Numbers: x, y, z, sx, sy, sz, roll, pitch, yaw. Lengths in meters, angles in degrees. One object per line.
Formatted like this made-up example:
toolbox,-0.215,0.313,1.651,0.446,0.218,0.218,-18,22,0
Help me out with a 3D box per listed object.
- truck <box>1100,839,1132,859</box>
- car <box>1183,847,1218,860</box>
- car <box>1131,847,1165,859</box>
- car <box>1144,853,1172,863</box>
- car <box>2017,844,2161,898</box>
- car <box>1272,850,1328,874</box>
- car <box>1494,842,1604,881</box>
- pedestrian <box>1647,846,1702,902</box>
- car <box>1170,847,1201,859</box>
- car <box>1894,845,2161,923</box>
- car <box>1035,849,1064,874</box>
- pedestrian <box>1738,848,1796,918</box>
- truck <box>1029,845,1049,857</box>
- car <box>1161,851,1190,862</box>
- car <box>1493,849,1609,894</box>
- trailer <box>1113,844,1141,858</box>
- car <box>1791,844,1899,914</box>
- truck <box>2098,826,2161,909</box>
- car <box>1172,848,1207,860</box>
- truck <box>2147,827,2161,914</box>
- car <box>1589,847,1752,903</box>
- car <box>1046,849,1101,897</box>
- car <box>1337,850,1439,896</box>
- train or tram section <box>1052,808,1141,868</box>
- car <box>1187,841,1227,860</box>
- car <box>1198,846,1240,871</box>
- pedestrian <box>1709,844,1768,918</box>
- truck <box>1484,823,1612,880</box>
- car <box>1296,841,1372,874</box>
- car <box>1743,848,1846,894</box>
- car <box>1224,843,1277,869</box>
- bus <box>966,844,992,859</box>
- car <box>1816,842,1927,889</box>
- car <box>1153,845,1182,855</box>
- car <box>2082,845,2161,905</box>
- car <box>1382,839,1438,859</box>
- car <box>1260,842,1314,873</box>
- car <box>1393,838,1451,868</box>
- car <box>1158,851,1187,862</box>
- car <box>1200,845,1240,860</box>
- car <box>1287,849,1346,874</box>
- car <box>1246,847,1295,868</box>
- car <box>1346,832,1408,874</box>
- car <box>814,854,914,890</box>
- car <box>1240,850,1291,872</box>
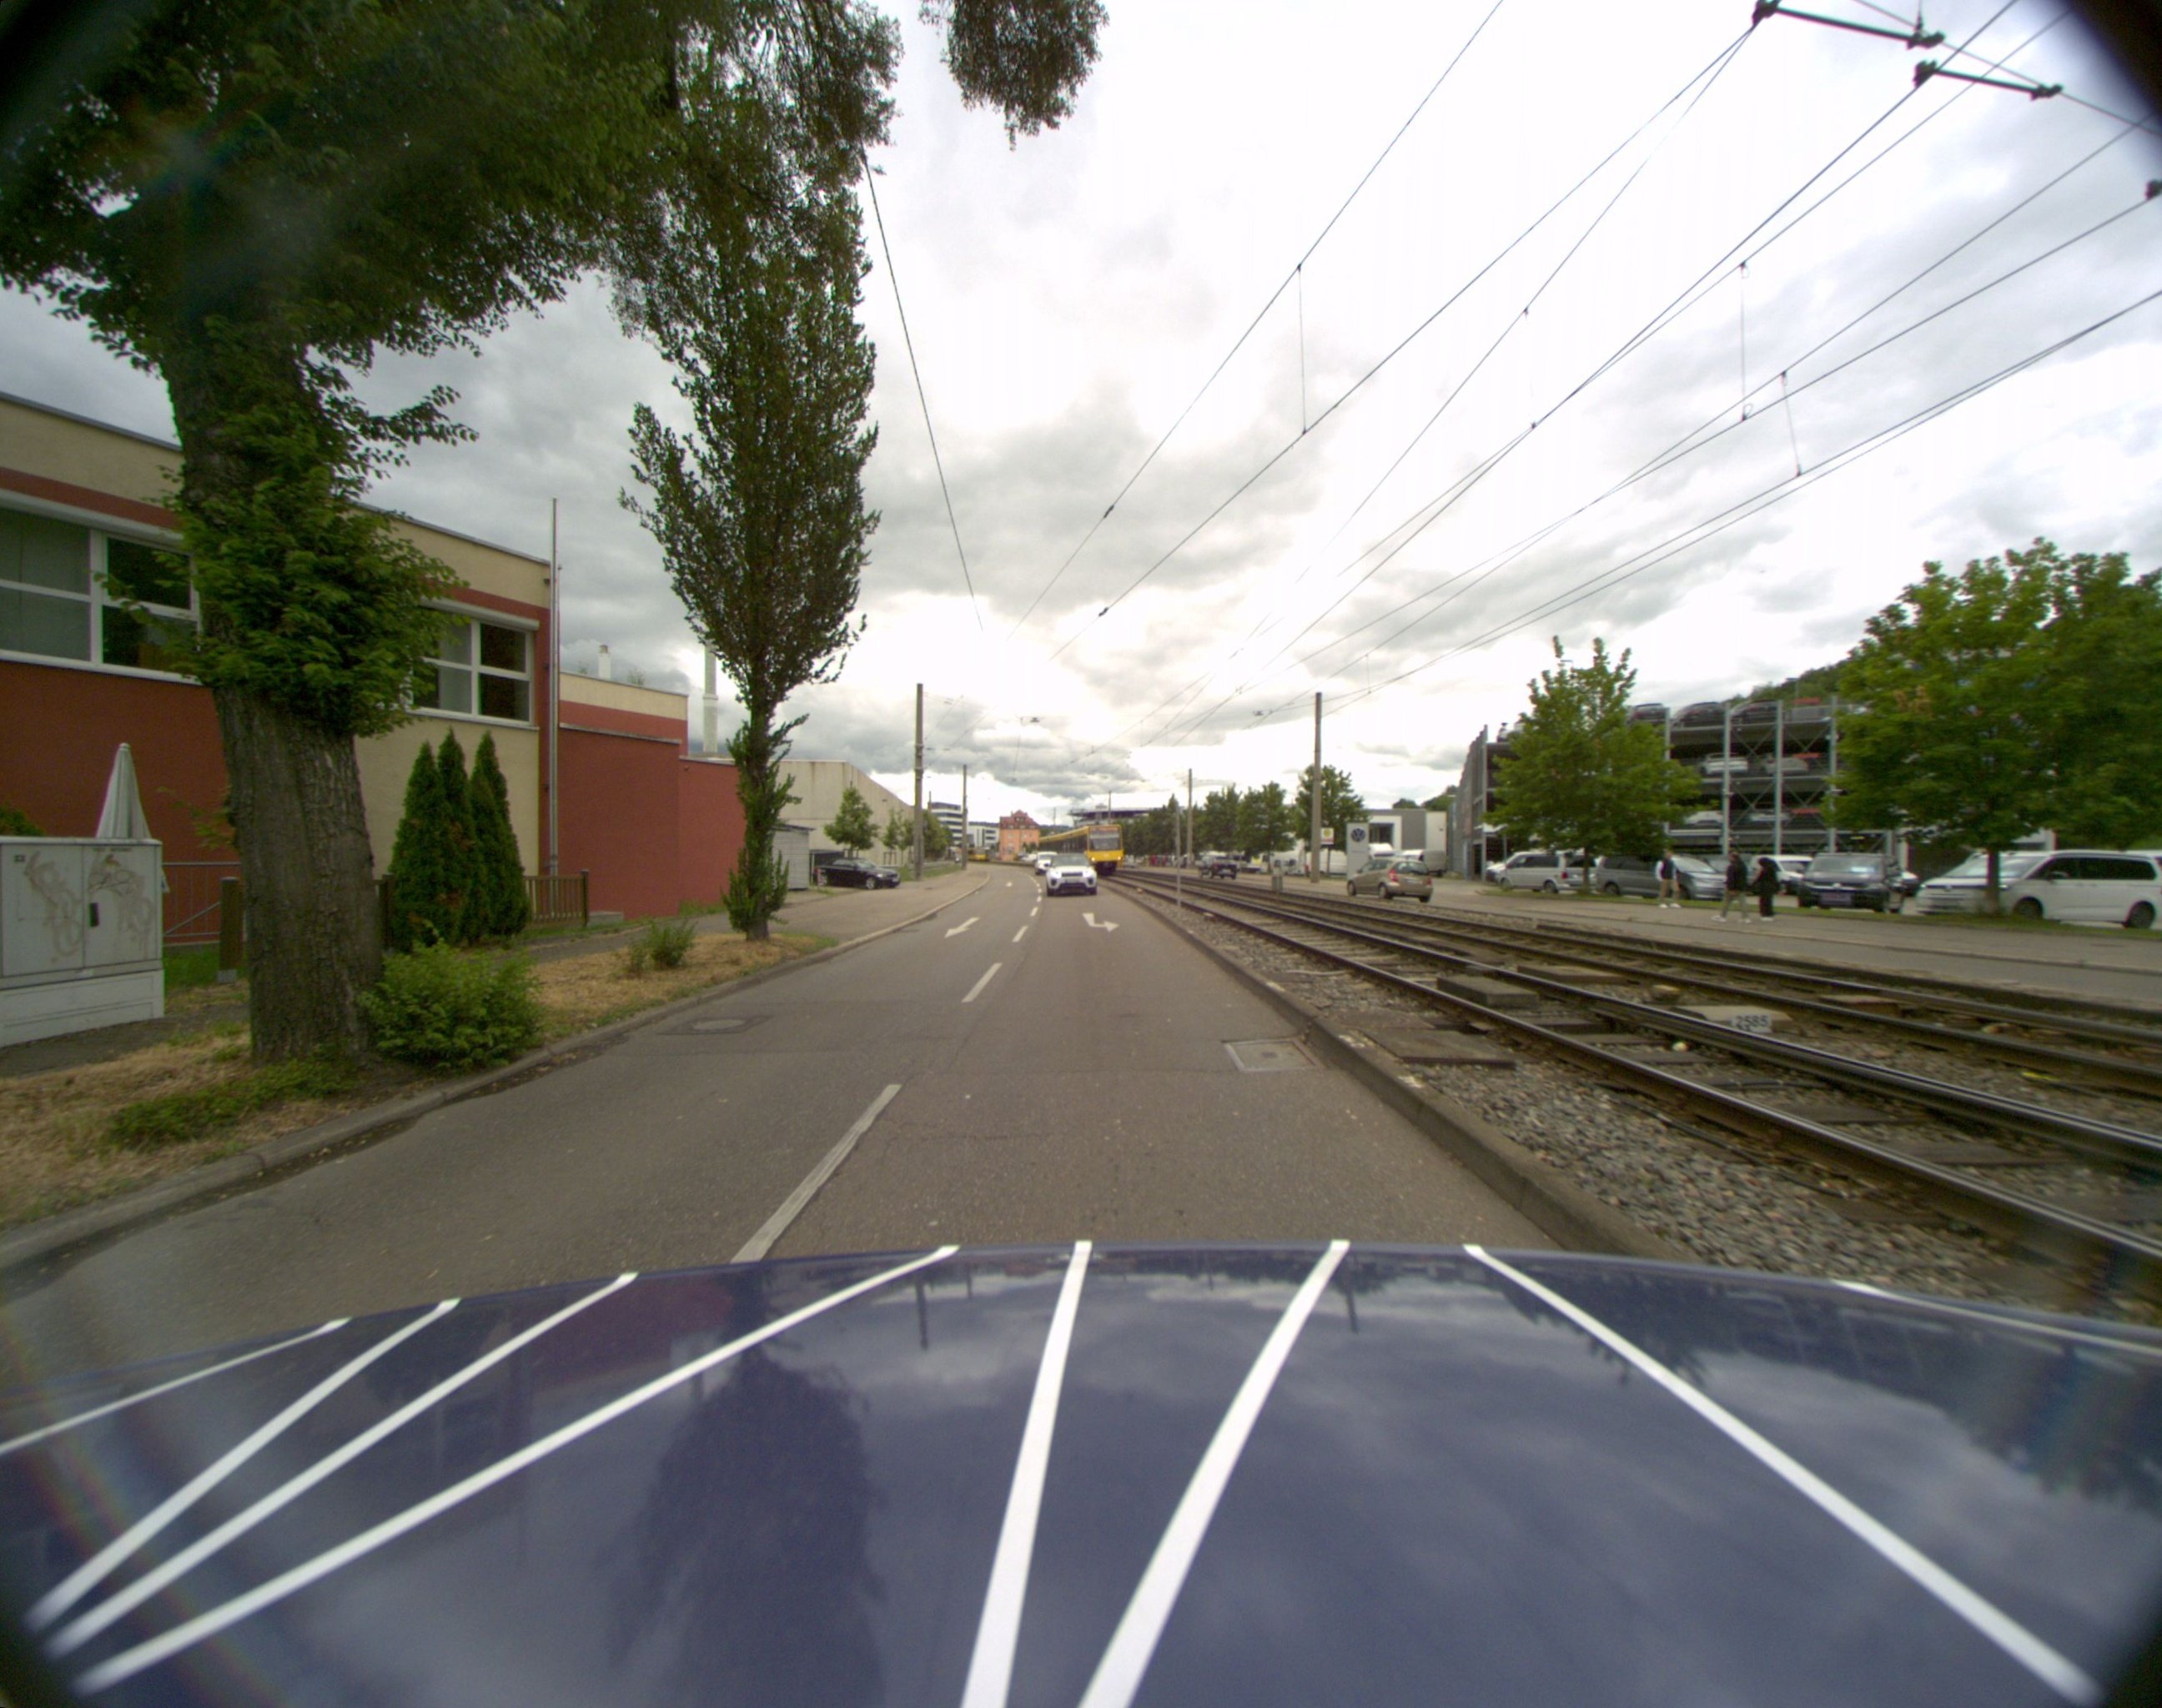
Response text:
truck,5.022,-0.713,110.767,2.765,2.725,9.212,2,0,-8
car,16.015,-0.049,101.820,4.378,1.676,2.003,0,0,-5
car,11.531,-0.175,130.871,5.704,1.996,2.146,1,0,12
car,12.647,0.715,125.355,4.349,1.608,2.153,0,0,-4
car,39.167,0.628,28.871,4.259,2.002,1.983,0,0,12
car,19.418,0.689,67.376,4.380,2.093,2.002,0,0,-9
car,24.735,0.382,40.379,4.719,2.002,2.003,0,0,22
pedestrian,18.050,0.601,23.130,0.720,1.646,1.041,-2,0,-13
car,14.694,-0.152,106.609,3.998,1.608,1.999,0,0,-4
car,24.598,0.730,19.716,5.071,1.877,2.165,0,0,-6
car,-2.511,0.569,59.702,1.999,1.881,4.624,0,0,-6
pedestrian,17.245,0.726,19.116,0.630,1.703,0.855,-2,0,-3
truck,-10.285,-0.680,185.268,3.119,2.904,8.951,2,-1,-14
car,14.024,0.369,112.547,3.998,1.608,1.999,0,0,-4
car,22.058,0.788,35.967,2.000,2.002,4.916,0,0,-7
trailer,6.108,-0.361,102.699,2.390,1.688,6.942,2,0,-8
car,24.410,0.731,24.224,5.083,2.002,2.160,0,0,-42
truck,36.219,0.420,23.566,5.061,2.573,2.472,0,0,19
car,14.927,-0.023,104.193,4.379,1.608,2.003,0,0,-7
truck,34.626,0.462,20.909,5.765,2.572,2.472,0,0,19
car,22.833,0.768,29.767,2.000,2.002,5.126,0,0,-7
car,-0.349,0.698,30.004,1.999,1.718,3.999,-1,0,-2
car,11.560,0.686,28.963,1.896,1.523,4.254,3,0,-4
train or tram section,0.773,-1.124,59.648,3.400,3.984,16.926,-2,1,-11
car,15.594,-0.397,94.093,4.509,2.298,2.124,0,0,-5
car,9.413,0.317,52.079,1.692,1.523,4.254,3,0,-5
pedestrian,16.460,0.671,19.044,0.678,1.802,0.855,-2,0,-3
truck,26.241,-0.155,43.027,5.924,3.067,2.123,0,0,24
car,20.767,0.298,62.396,5.489,2.587,2.245,0,0,-6
car,33.602,0.769,35.939,1.995,2.001,4.475,0,0,21
car,17.889,0.206,80.276,4.982,2.683,2.113,0,0,-9
bus,-27.380,-0.758,202.823,3.566,3.930,10.469,-2,2,-27
car,36.124,0.518,34.874,1.995,2.001,4.475,0,0,24
car,13.533,-0.607,119.435,4.190,1.608,2.062,0,0,-4
car,37.928,0.720,26.057,3.993,2.002,2.002,0,0,12
car,33.204,-0.468,76.783,4.857,2.002,1.999,0,0,-4
car,18.947,0.338,69.874,4.380,2.802,2.002,0,0,-9
car,30.722,-0.111,68.353,5.964,2.587,1.999,0,0,-35
car,13.839,0.428,115.118,3.998,1.608,1.999,0,0,-4
car,16.751,-0.181,91.908,4.378,1.834,2.003,0,0,-5
car,20.071,0.640,64.747,4.380,2.093,2.002,0,0,-9
car,19.336,0.365,77.660,4.380,2.160,2.002,0,0,-9
car,22.324,-0.042,57.621,2.114,3.001,5.935,0,0,-3
car,-10.080,0.799,35.320,4.223,1.434,1.766,2,1,22
car,18.177,0.682,74.910,4.380,2.160,2.002,0,0,-9
